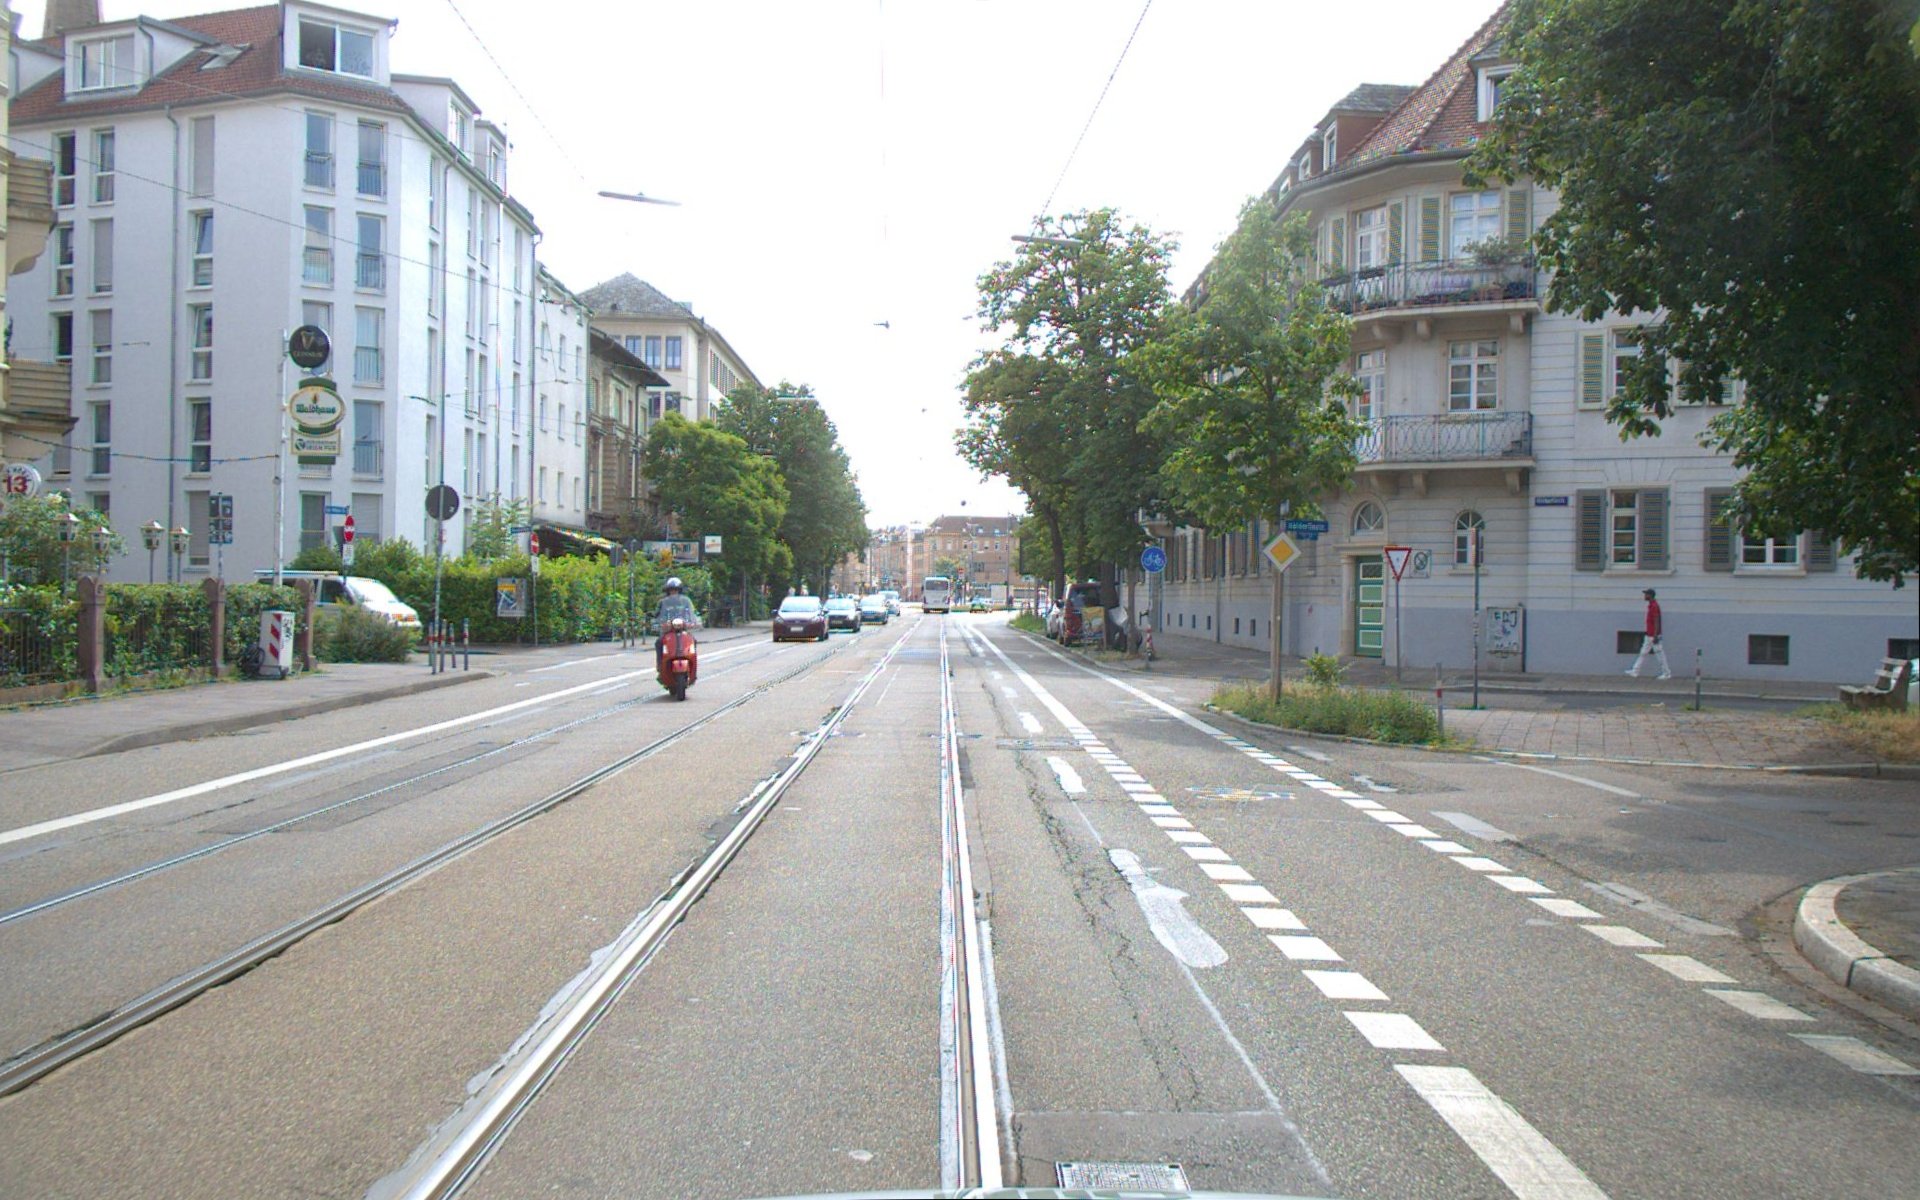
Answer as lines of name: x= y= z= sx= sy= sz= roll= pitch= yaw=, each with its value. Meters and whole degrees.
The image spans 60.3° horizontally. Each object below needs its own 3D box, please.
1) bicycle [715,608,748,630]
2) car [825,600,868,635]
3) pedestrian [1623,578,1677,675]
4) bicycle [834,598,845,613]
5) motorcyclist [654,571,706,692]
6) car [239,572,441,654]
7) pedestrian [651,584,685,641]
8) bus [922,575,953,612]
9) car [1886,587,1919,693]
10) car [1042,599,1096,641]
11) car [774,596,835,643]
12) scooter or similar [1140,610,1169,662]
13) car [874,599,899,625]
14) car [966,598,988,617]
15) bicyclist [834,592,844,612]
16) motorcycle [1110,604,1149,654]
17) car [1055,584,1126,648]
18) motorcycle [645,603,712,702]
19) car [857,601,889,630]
bicycle: x=-10.791 y=0.903 z=78.267 sx=1.119 sy=0.924 sz=2.988 roll=4 pitch=0 yaw=-1
car: x=-4.802 y=0.711 z=70.331 sx=1.595 sy=1.432 sz=4.128 roll=1 pitch=0 yaw=-1
pedestrian: x=14.250 y=0.542 z=34.130 sx=0.955 sy=1.971 sz=0.901 roll=1 pitch=-1 yaw=26
bicycle: x=-9.546 y=0.437 z=131.061 sx=0.590 sy=1.116 sz=2.023 roll=-5 pitch=0 yaw=2
motorcyclist: x=-4.115 y=0.462 z=24.323 sx=0.725 sy=1.744 sz=0.919 roll=1 pitch=0 yaw=-10
car: x=-16.217 y=0.331 z=43.278 sx=4.829 sy=2.049 sz=2.050 roll=0 pitch=0 yaw=21
pedestrian: x=-10.070 y=0.440 z=57.031 sx=1.038 sy=1.951 sz=0.829 roll=1 pitch=0 yaw=-3
bus: x=-2.232 y=-0.545 z=161.357 sx=2.859 sy=3.386 sz=12.202 roll=1 pitch=-1 yaw=-1
car: x=15.878 y=0.598 z=24.602 sx=3.537 sy=1.524 sz=1.730 roll=1 pitch=2 yaw=26
car: x=4.083 y=0.729 z=62.563 sx=1.672 sy=1.524 sz=4.788 roll=0 pitch=0 yaw=-1
car: x=-5.126 y=0.621 z=54.847 sx=1.561 sy=1.465 sz=3.936 roll=-1 pitch=0 yaw=1
scooter or similar: x=4.894 y=0.893 z=41.729 sx=0.521 sy=1.273 sz=1.720 roll=0 pitch=0 yaw=0
car: x=-5.697 y=0.931 z=129.094 sx=1.859 sy=1.941 sz=5.382 roll=0 pitch=0 yaw=-2
car: x=1.712 y=0.747 z=168.581 sx=2.087 sy=1.713 sz=4.101 roll=2 pitch=1 yaw=-2
bicyclist: x=-9.577 y=0.129 z=131.051 sx=0.587 sy=1.518 sz=0.882 roll=-5 pitch=0 yaw=2
motorcycle: x=4.716 y=0.784 z=46.142 sx=0.839 sy=1.344 sz=2.445 roll=1 pitch=0 yaw=0
car: x=4.243 y=0.503 z=54.329 sx=1.857 sy=1.975 sz=4.949 roll=0 pitch=0 yaw=-1
motorcycle: x=-4.114 y=0.745 z=24.299 sx=0.724 sy=1.384 sz=2.087 roll=1 pitch=0 yaw=-3
car: x=-4.851 y=0.847 z=92.607 sx=1.692 sy=1.567 sz=4.275 roll=0 pitch=0 yaw=-2
